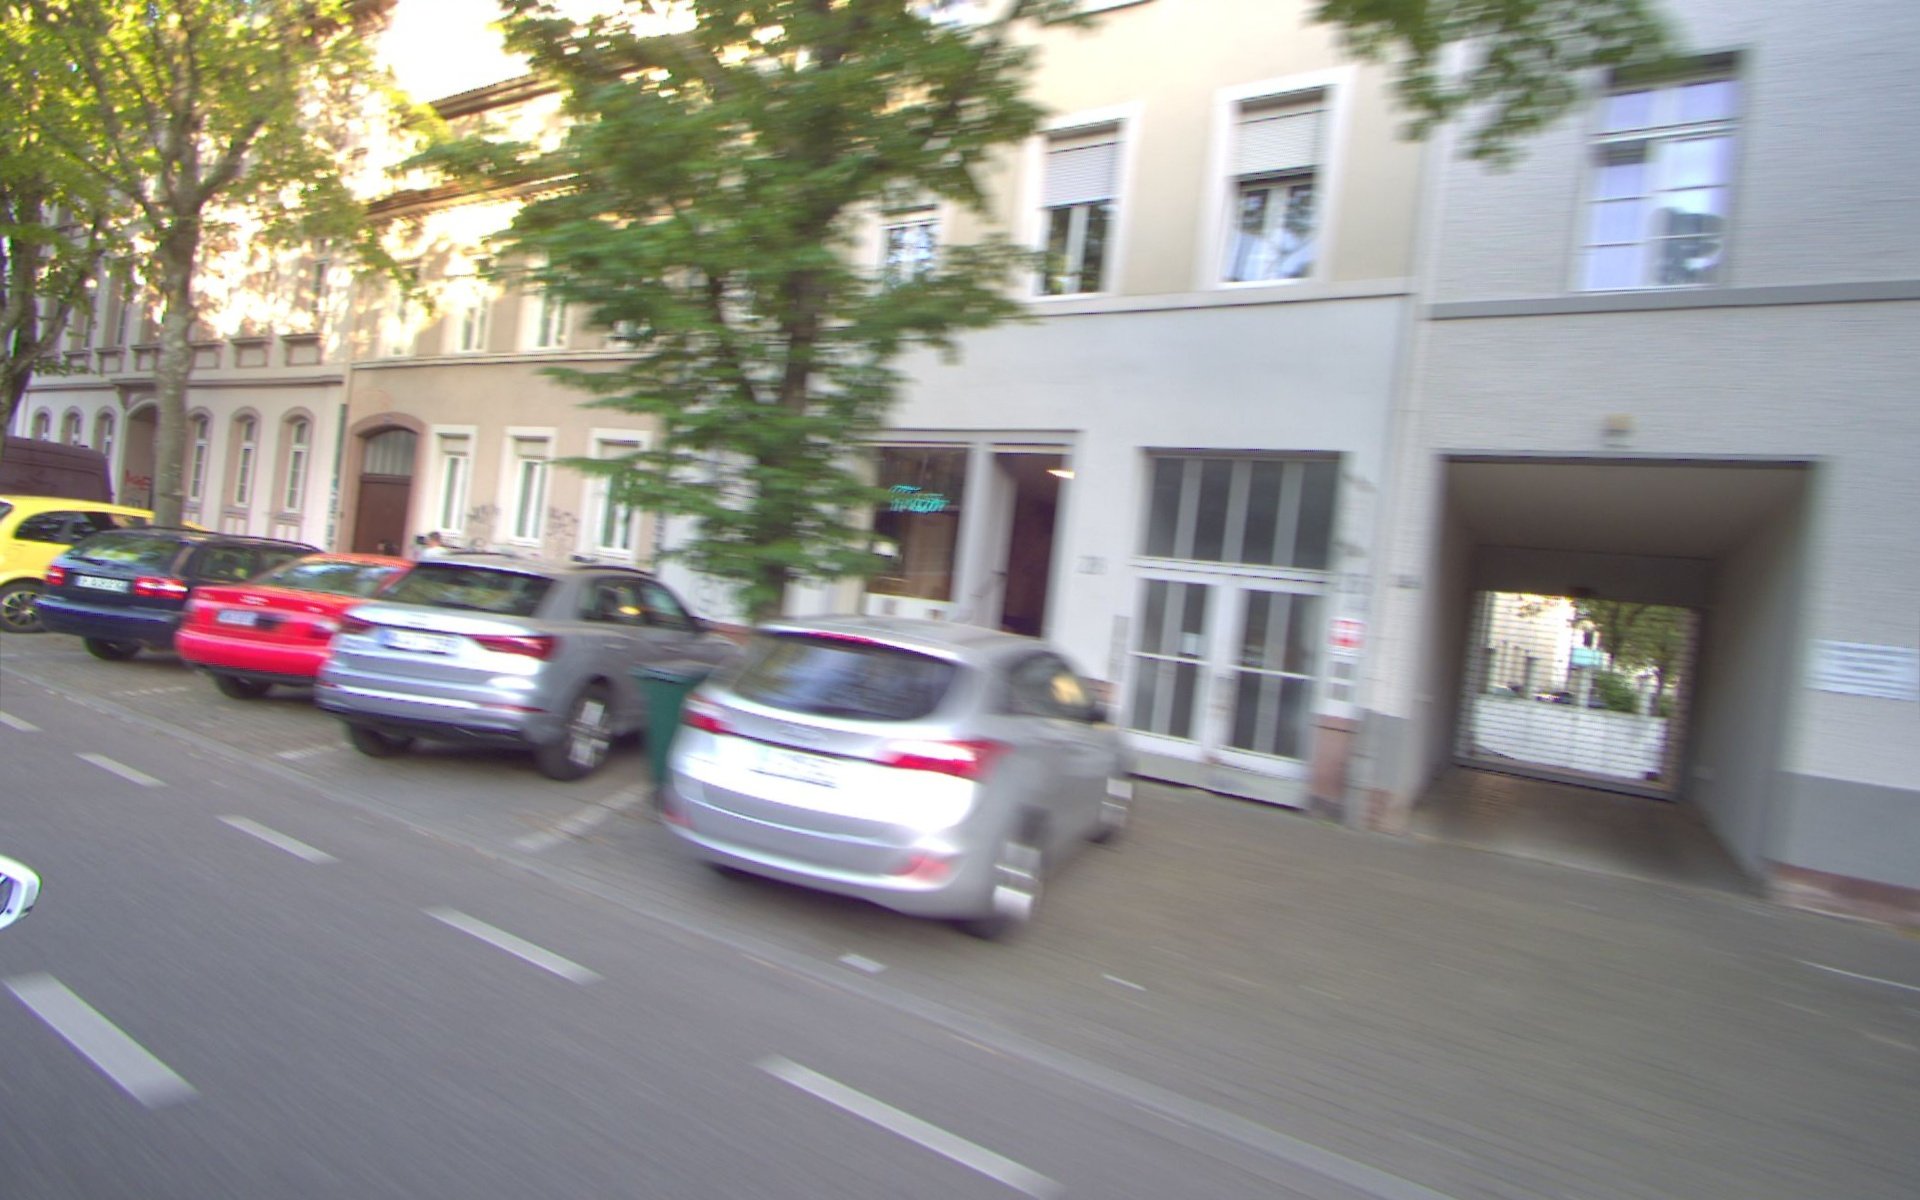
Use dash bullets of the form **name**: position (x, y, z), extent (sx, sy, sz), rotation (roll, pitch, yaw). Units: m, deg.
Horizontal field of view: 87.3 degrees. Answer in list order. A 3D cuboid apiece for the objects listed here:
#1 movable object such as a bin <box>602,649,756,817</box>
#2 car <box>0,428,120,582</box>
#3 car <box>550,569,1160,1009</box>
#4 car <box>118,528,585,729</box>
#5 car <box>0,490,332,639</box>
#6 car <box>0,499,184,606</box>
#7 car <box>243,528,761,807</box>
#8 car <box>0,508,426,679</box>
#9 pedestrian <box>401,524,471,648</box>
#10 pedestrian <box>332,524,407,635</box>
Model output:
- **movable object such as a bin**: position (-1.918, 0.878, 6.933), extent (0.580, 0.995, 0.823), rotation (6, 2, 21)
- **car**: position (-18.327, -1.848, 17.697), extent (1.983, 2.676, 5.112), rotation (6, 0, 15)
- **car**: position (-0.169, 0.829, 6.326), extent (1.982, 1.568, 4.263), rotation (7, 0, 21)
- **car**: position (-5.776, 0.254, 10.293), extent (1.861, 1.442, 4.136), rotation (6, 0, 6)
- **car**: position (-11.045, -0.439, 13.491), extent (1.889, 1.640, 3.954), rotation (6, 0, 32)
- **car**: position (-14.502, -0.768, 15.339), extent (1.884, 1.505, 3.964), rotation (6, 0, 8)
- **car**: position (-3.383, 0.456, 8.543), extent (1.861, 1.580, 4.266), rotation (6, 0, 9)
- **car**: position (-8.325, -0.056, 11.446), extent (1.884, 1.442, 4.136), rotation (6, 0, 6)
- **pedestrian**: position (-8.165, -0.208, 15.674), extent (0.597, 1.836, 0.566), rotation (7, 0, 31)
- **pedestrian**: position (-9.063, -0.312, 15.446), extent (0.800, 1.587, 0.538), rotation (7, 0, 33)
